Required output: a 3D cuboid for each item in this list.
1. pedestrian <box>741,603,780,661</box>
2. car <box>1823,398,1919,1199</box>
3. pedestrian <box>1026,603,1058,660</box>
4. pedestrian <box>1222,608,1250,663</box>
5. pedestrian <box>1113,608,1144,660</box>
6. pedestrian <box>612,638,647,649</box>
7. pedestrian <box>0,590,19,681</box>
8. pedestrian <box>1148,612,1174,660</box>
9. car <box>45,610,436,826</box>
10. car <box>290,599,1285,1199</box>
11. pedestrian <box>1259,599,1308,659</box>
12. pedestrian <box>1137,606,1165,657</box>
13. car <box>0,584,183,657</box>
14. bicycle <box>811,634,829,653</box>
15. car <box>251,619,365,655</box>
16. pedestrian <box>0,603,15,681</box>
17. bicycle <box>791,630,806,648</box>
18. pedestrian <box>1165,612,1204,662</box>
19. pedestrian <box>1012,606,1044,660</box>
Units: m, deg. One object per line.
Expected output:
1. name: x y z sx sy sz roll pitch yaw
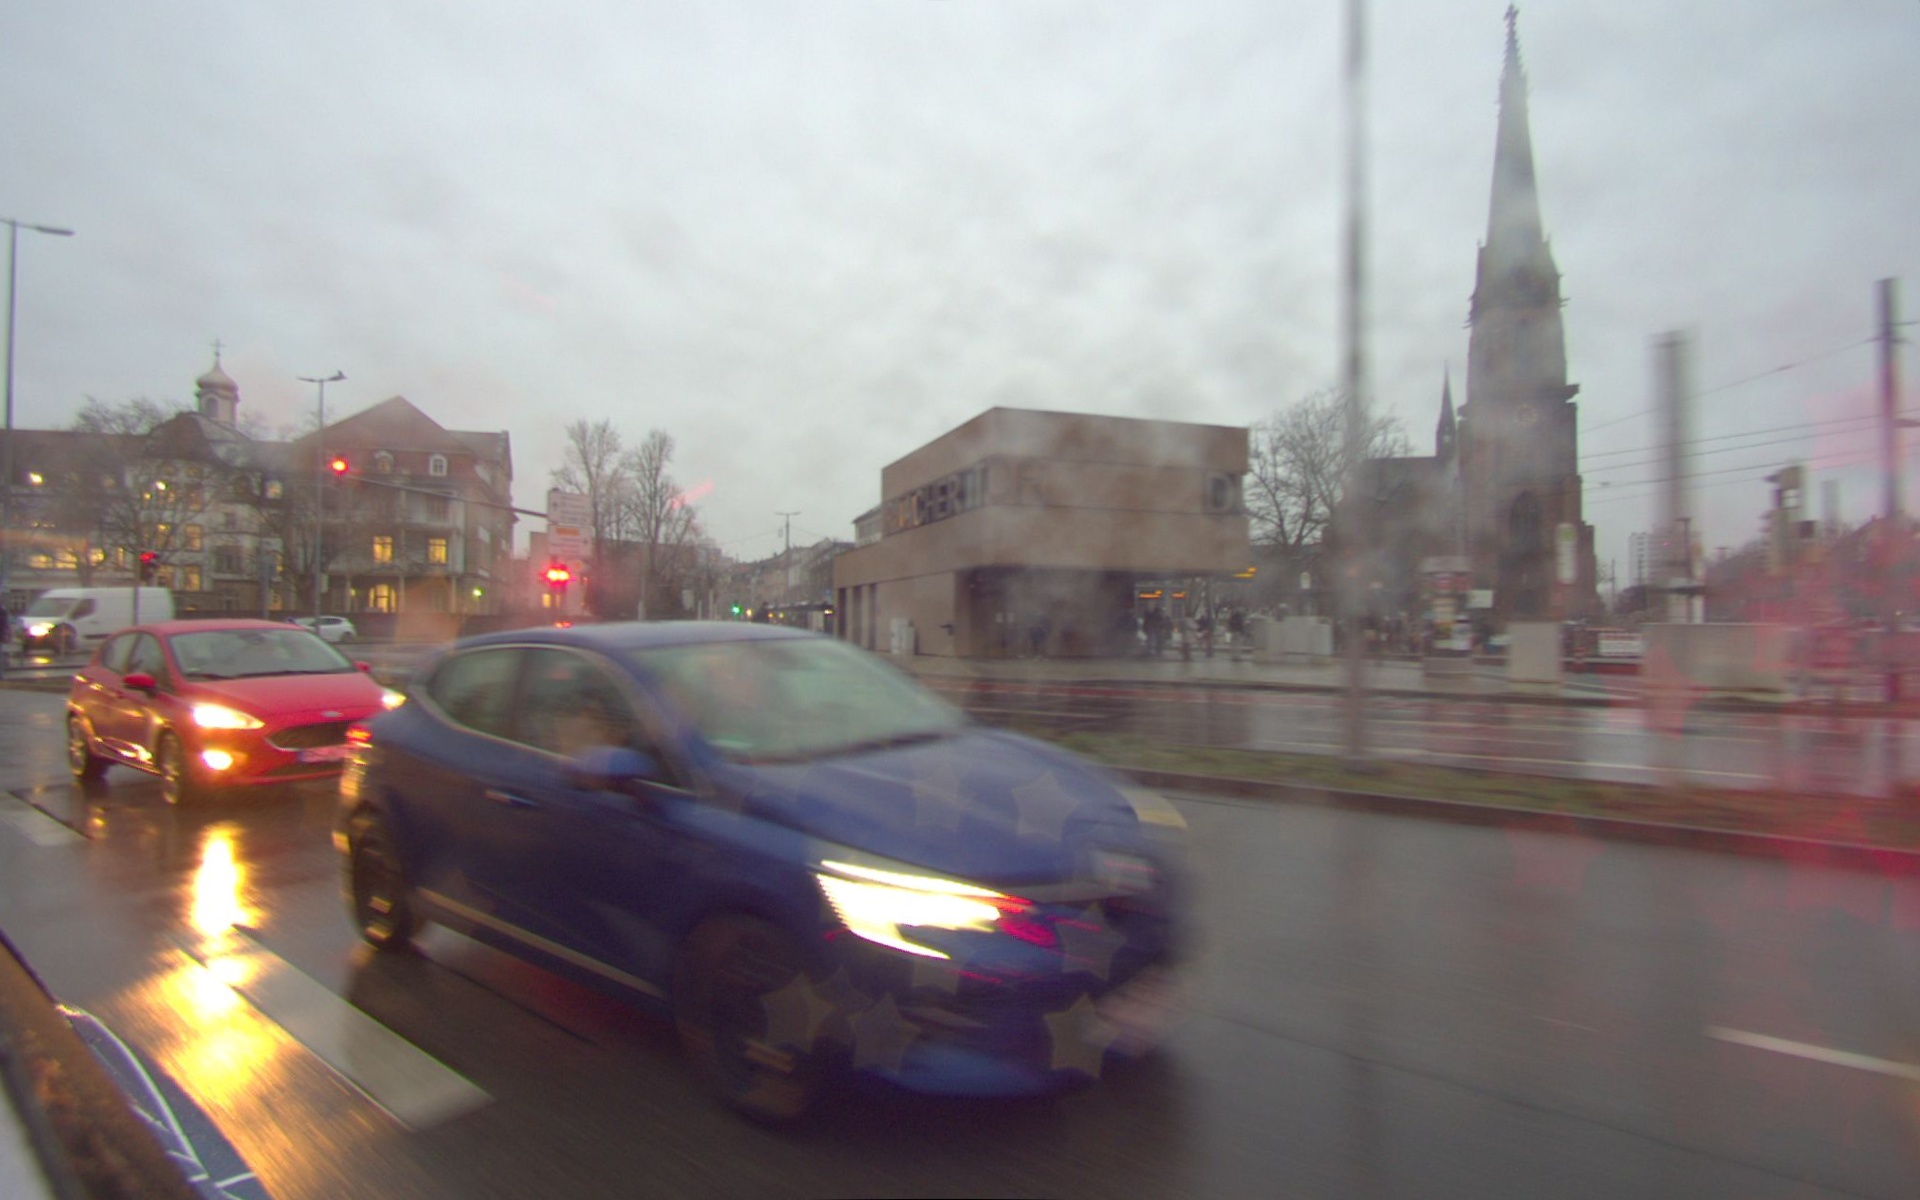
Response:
1. pedestrian: -6.617 1.067 33.581 1.020 1.872 1.235 -2 -3 -1
2. car: 3.550 0.481 0.630 4.538 1.613 1.767 -1 0 41
3. pedestrian: 2.600 1.011 32.063 0.828 1.781 0.656 -1 -2 24
4. pedestrian: 8.980 1.159 32.923 0.758 1.764 0.794 -1 -2 23
5. pedestrian: 5.744 1.142 34.421 0.731 1.739 0.745 2 -3 -41
6. pedestrian: -30.800 4.089 94.413 3.047 0.937 0.951 -1 -3 -14
7. pedestrian: -21.801 0.807 22.682 1.107 2.021 0.838 -4 -3 35
8. pedestrian: 7.458 1.340 37.589 0.741 1.739 0.734 -1 -3 32
9. car: -6.541 0.888 9.085 3.864 1.493 1.686 -1 1 36
10. car: -1.000 0.740 4.119 4.113 1.414 1.643 -1 0 38
11. pedestrian: 10.721 0.967 33.585 1.104 1.933 1.066 1 -2 -17
12. pedestrian: 6.652 1.094 35.311 0.741 1.739 0.734 -1 -3 33
13. car: -33.704 0.857 39.167 2.321 2.537 5.851 -2 -3 8
14. bicycle: -8.517 2.659 61.554 0.636 1.113 2.758 -1 -3 -16
15. car: -31.820 1.781 49.596 1.820 1.656 4.796 0 -2 13
16. pedestrian: -23.831 1.029 24.428 1.056 1.872 1.034 -2 -3 3
17. bicycle: -10.989 2.662 68.787 0.636 1.113 2.758 -1 -3 -16
18. pedestrian: 7.375 1.216 33.226 0.841 1.615 0.968 1 -2 -20
19. pedestrian: 2.236 1.086 33.409 0.731 1.739 0.745 2 -3 -41
